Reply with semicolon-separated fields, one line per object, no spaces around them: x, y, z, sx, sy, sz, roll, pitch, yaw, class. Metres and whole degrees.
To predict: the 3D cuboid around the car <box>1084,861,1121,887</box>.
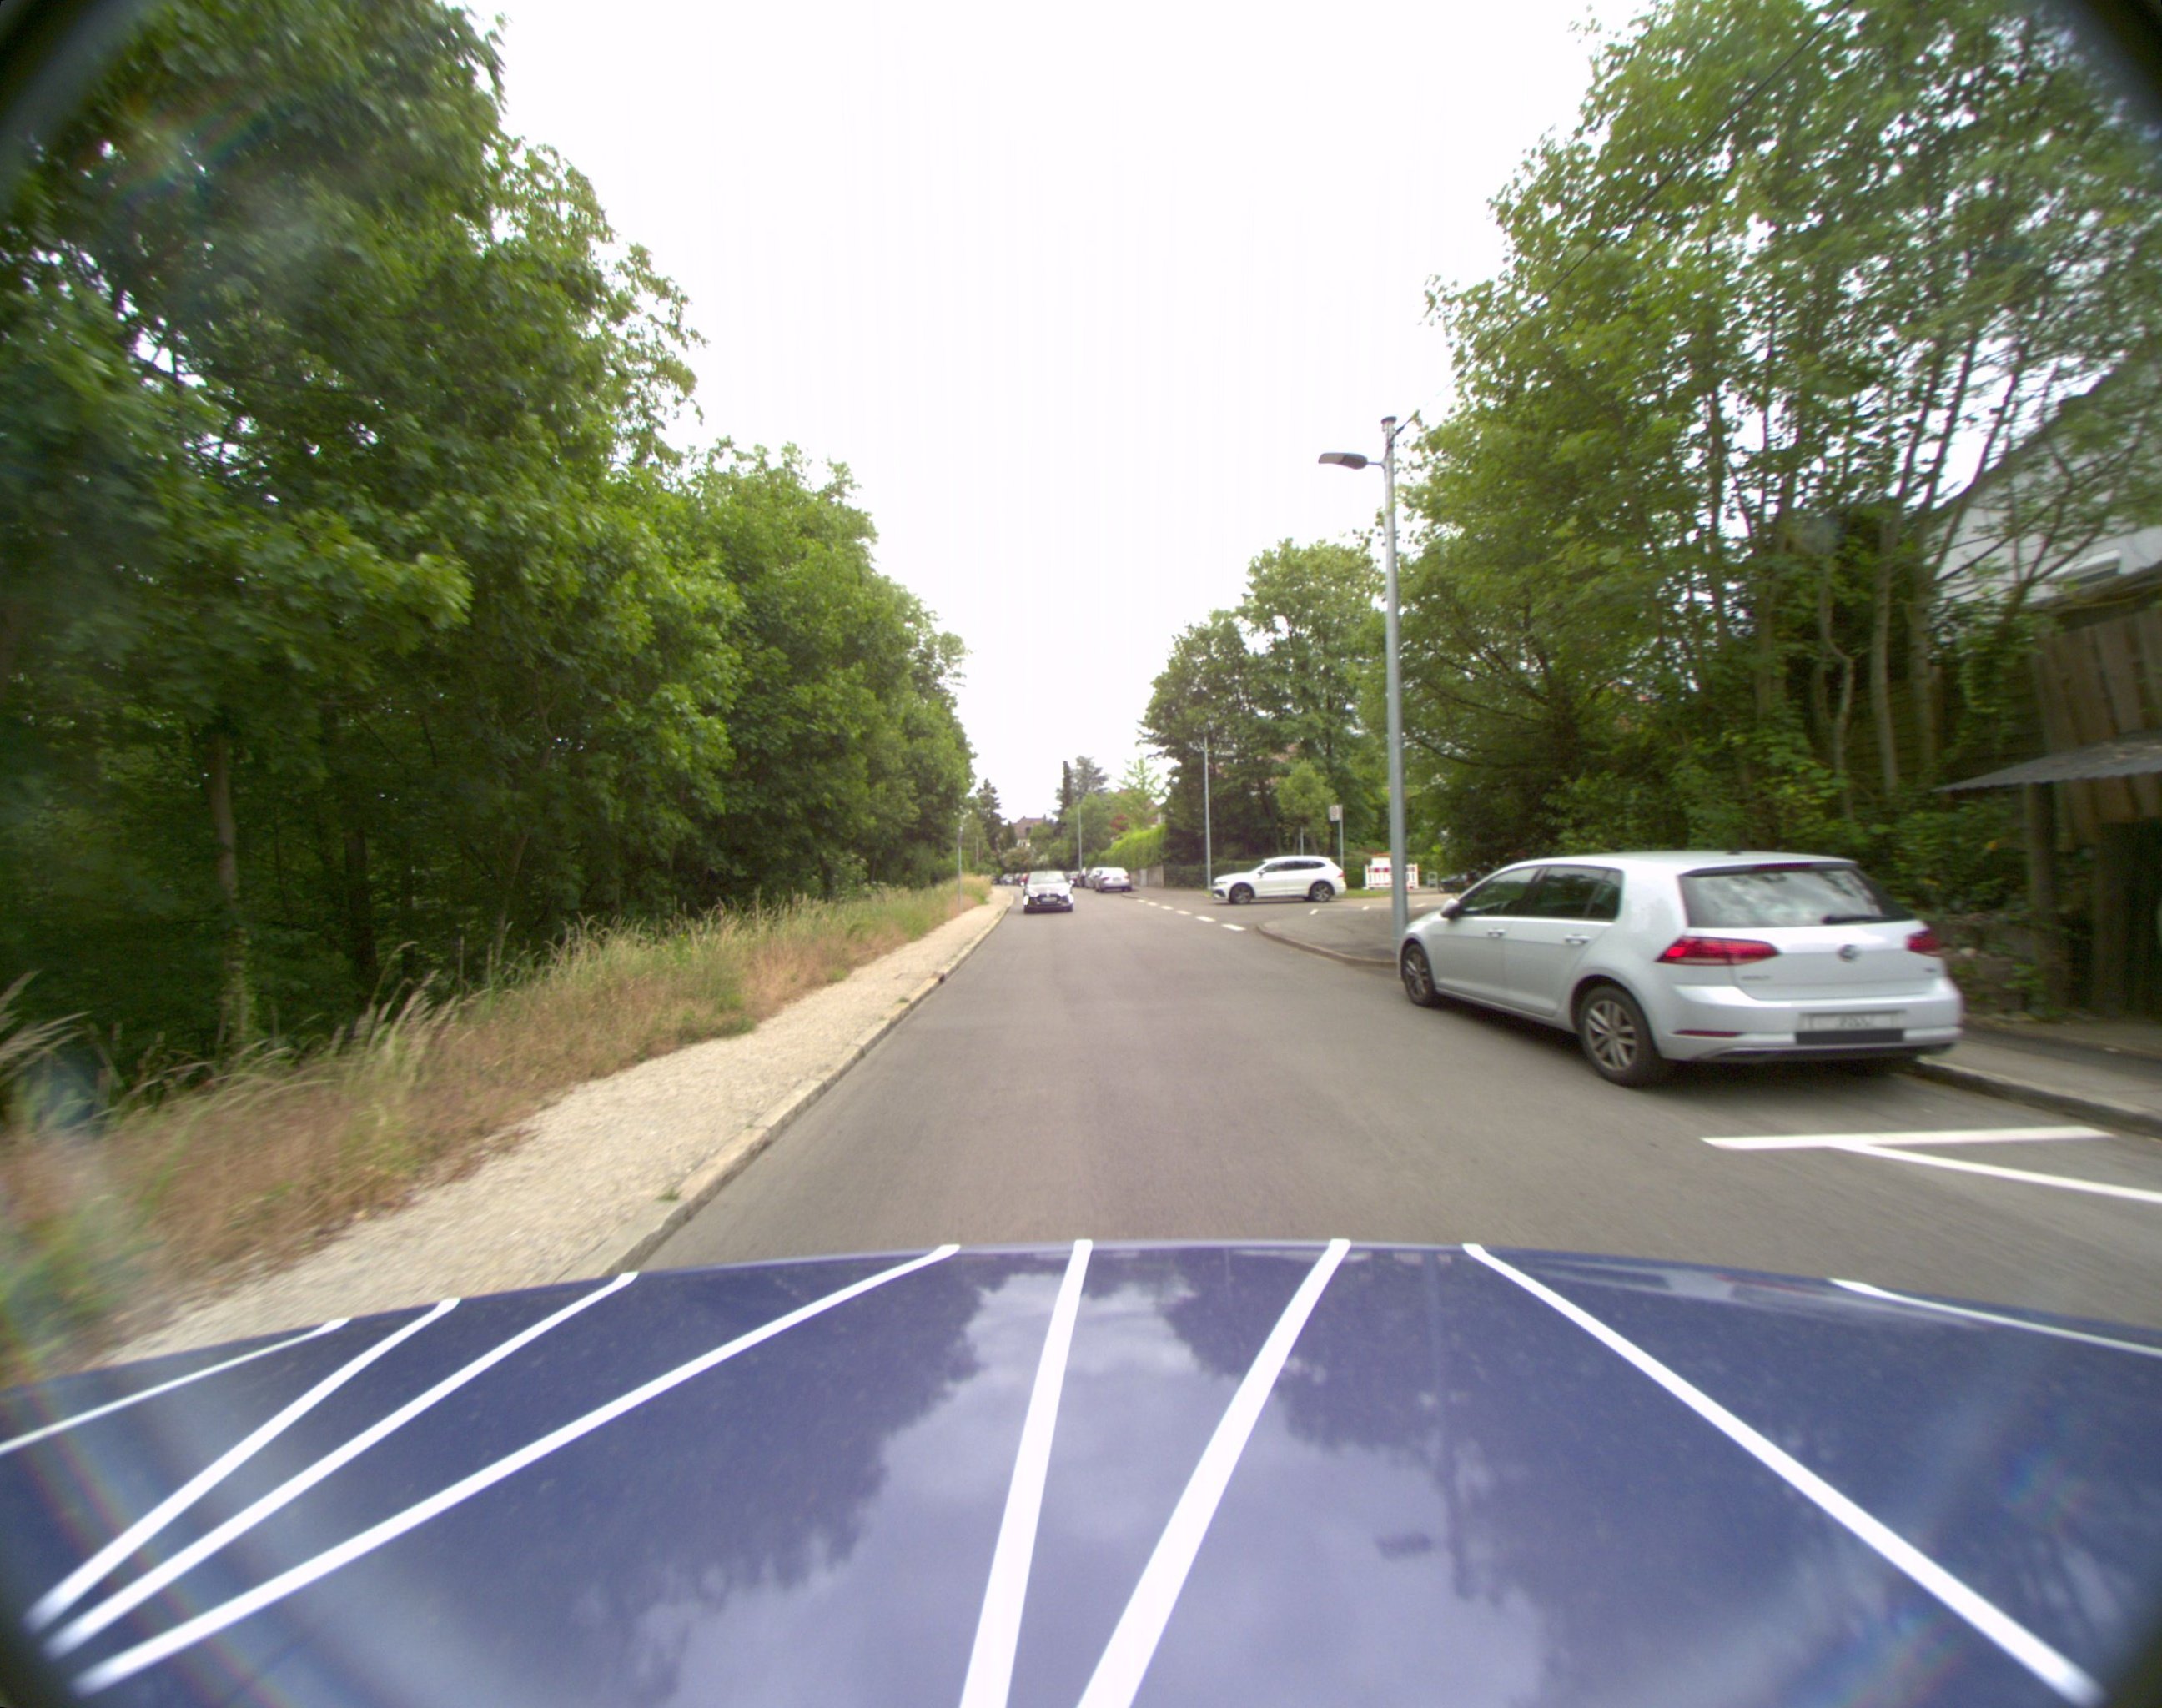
1.440;1.358;52.845;1.999;1.678;4.708;-2;0;-6;car

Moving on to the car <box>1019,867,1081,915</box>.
-1.034;1.284;27.515;1.787;1.491;4.016;-2;0;4;car

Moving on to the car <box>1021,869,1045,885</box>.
-5.738;2.700;90.364;2.001;1.678;4.705;-2;0;-15;car

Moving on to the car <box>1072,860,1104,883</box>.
0.539;1.380;60.593;1.999;1.678;4.708;-2;0;-6;car

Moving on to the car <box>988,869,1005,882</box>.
-12.421;3.131;111.661;2.001;1.678;4.705;-2;0;-13;car

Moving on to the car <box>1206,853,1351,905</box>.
7.071;0.883;27.585;4.706;1.678;2.000;-2;0;1;car

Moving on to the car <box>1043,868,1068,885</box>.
-2.662;2.294;78.560;1.801;1.678;3.496;-2;0;-14;car

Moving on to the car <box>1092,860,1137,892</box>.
1.915;1.240;44.651;1.999;1.678;4.708;-2;0;-5;car

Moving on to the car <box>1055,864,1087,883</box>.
-0.962;1.796;70.570;2.001;1.678;4.705;-2;0;-13;car

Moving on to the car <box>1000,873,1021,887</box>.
-9.303;3.369;100.037;2.001;1.678;4.705;-2;0;-13;car

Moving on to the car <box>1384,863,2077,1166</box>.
4.086;0.824;5.840;1.765;1.441;4.043;-2;0;-2;car
